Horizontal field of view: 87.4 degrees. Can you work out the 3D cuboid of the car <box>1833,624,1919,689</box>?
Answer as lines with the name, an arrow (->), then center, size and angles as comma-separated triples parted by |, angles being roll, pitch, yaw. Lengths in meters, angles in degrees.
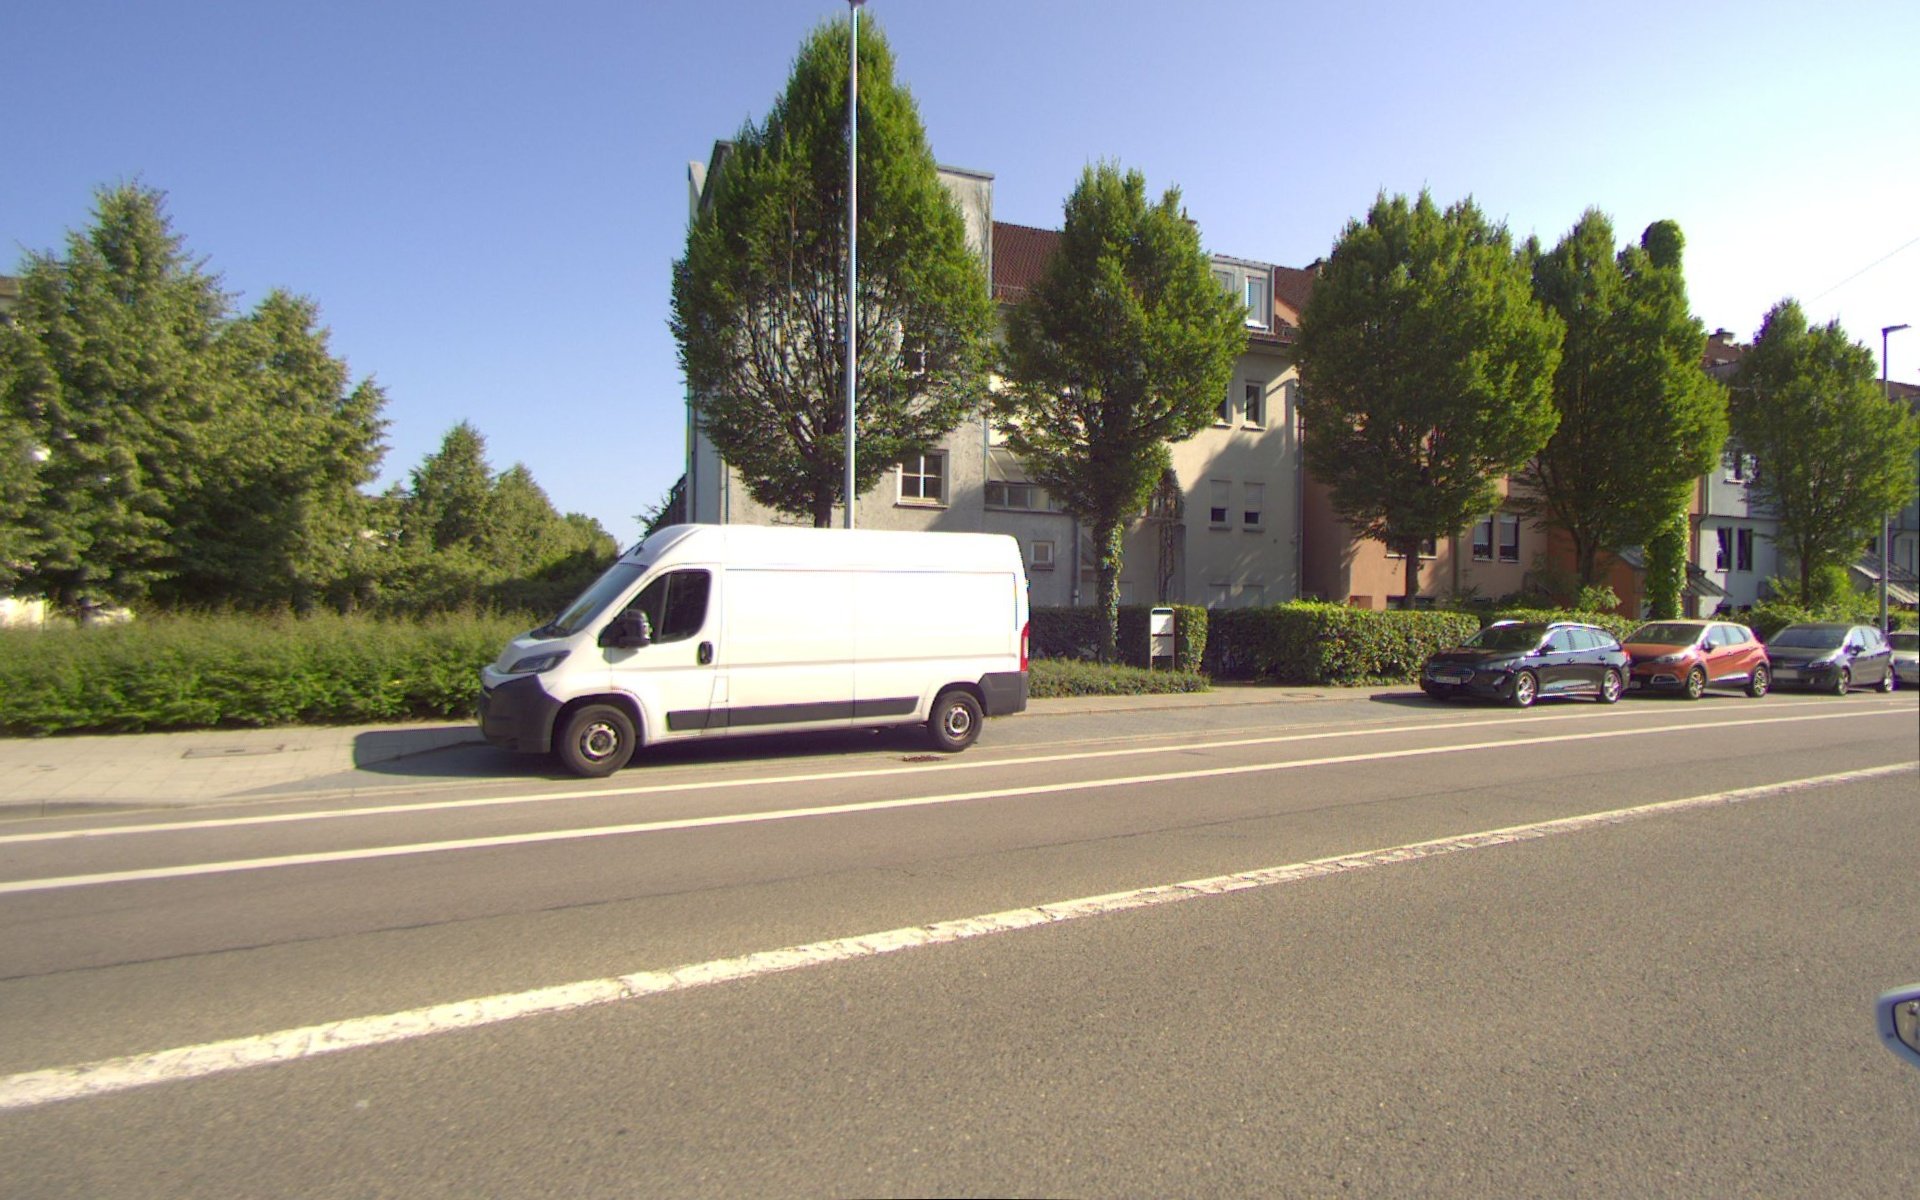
car -> 25.107, 1.472, 26.289 | 4.782, 1.491, 1.706 | 2, 1, -27

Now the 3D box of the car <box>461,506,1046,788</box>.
car -> -2.150, 0.426, 11.366 | 6.113, 2.491, 2.141 | 1, 2, -31

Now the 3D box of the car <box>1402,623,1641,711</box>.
car -> 10.401, 1.165, 18.528 | 4.655, 1.443, 1.645 | 1, -1, -29

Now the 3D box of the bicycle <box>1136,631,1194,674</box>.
bicycle -> 5.176, 1.309, 25.476 | 0.633, 0.990, 1.680 | 1, 0, -21

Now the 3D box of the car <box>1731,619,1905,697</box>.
car -> 20.323, 1.331, 23.751 | 4.247, 1.595, 1.754 | 1, 1, -30

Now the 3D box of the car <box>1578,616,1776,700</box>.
car -> 15.102, 1.199, 21.139 | 4.110, 1.595, 1.755 | 2, -1, -28
